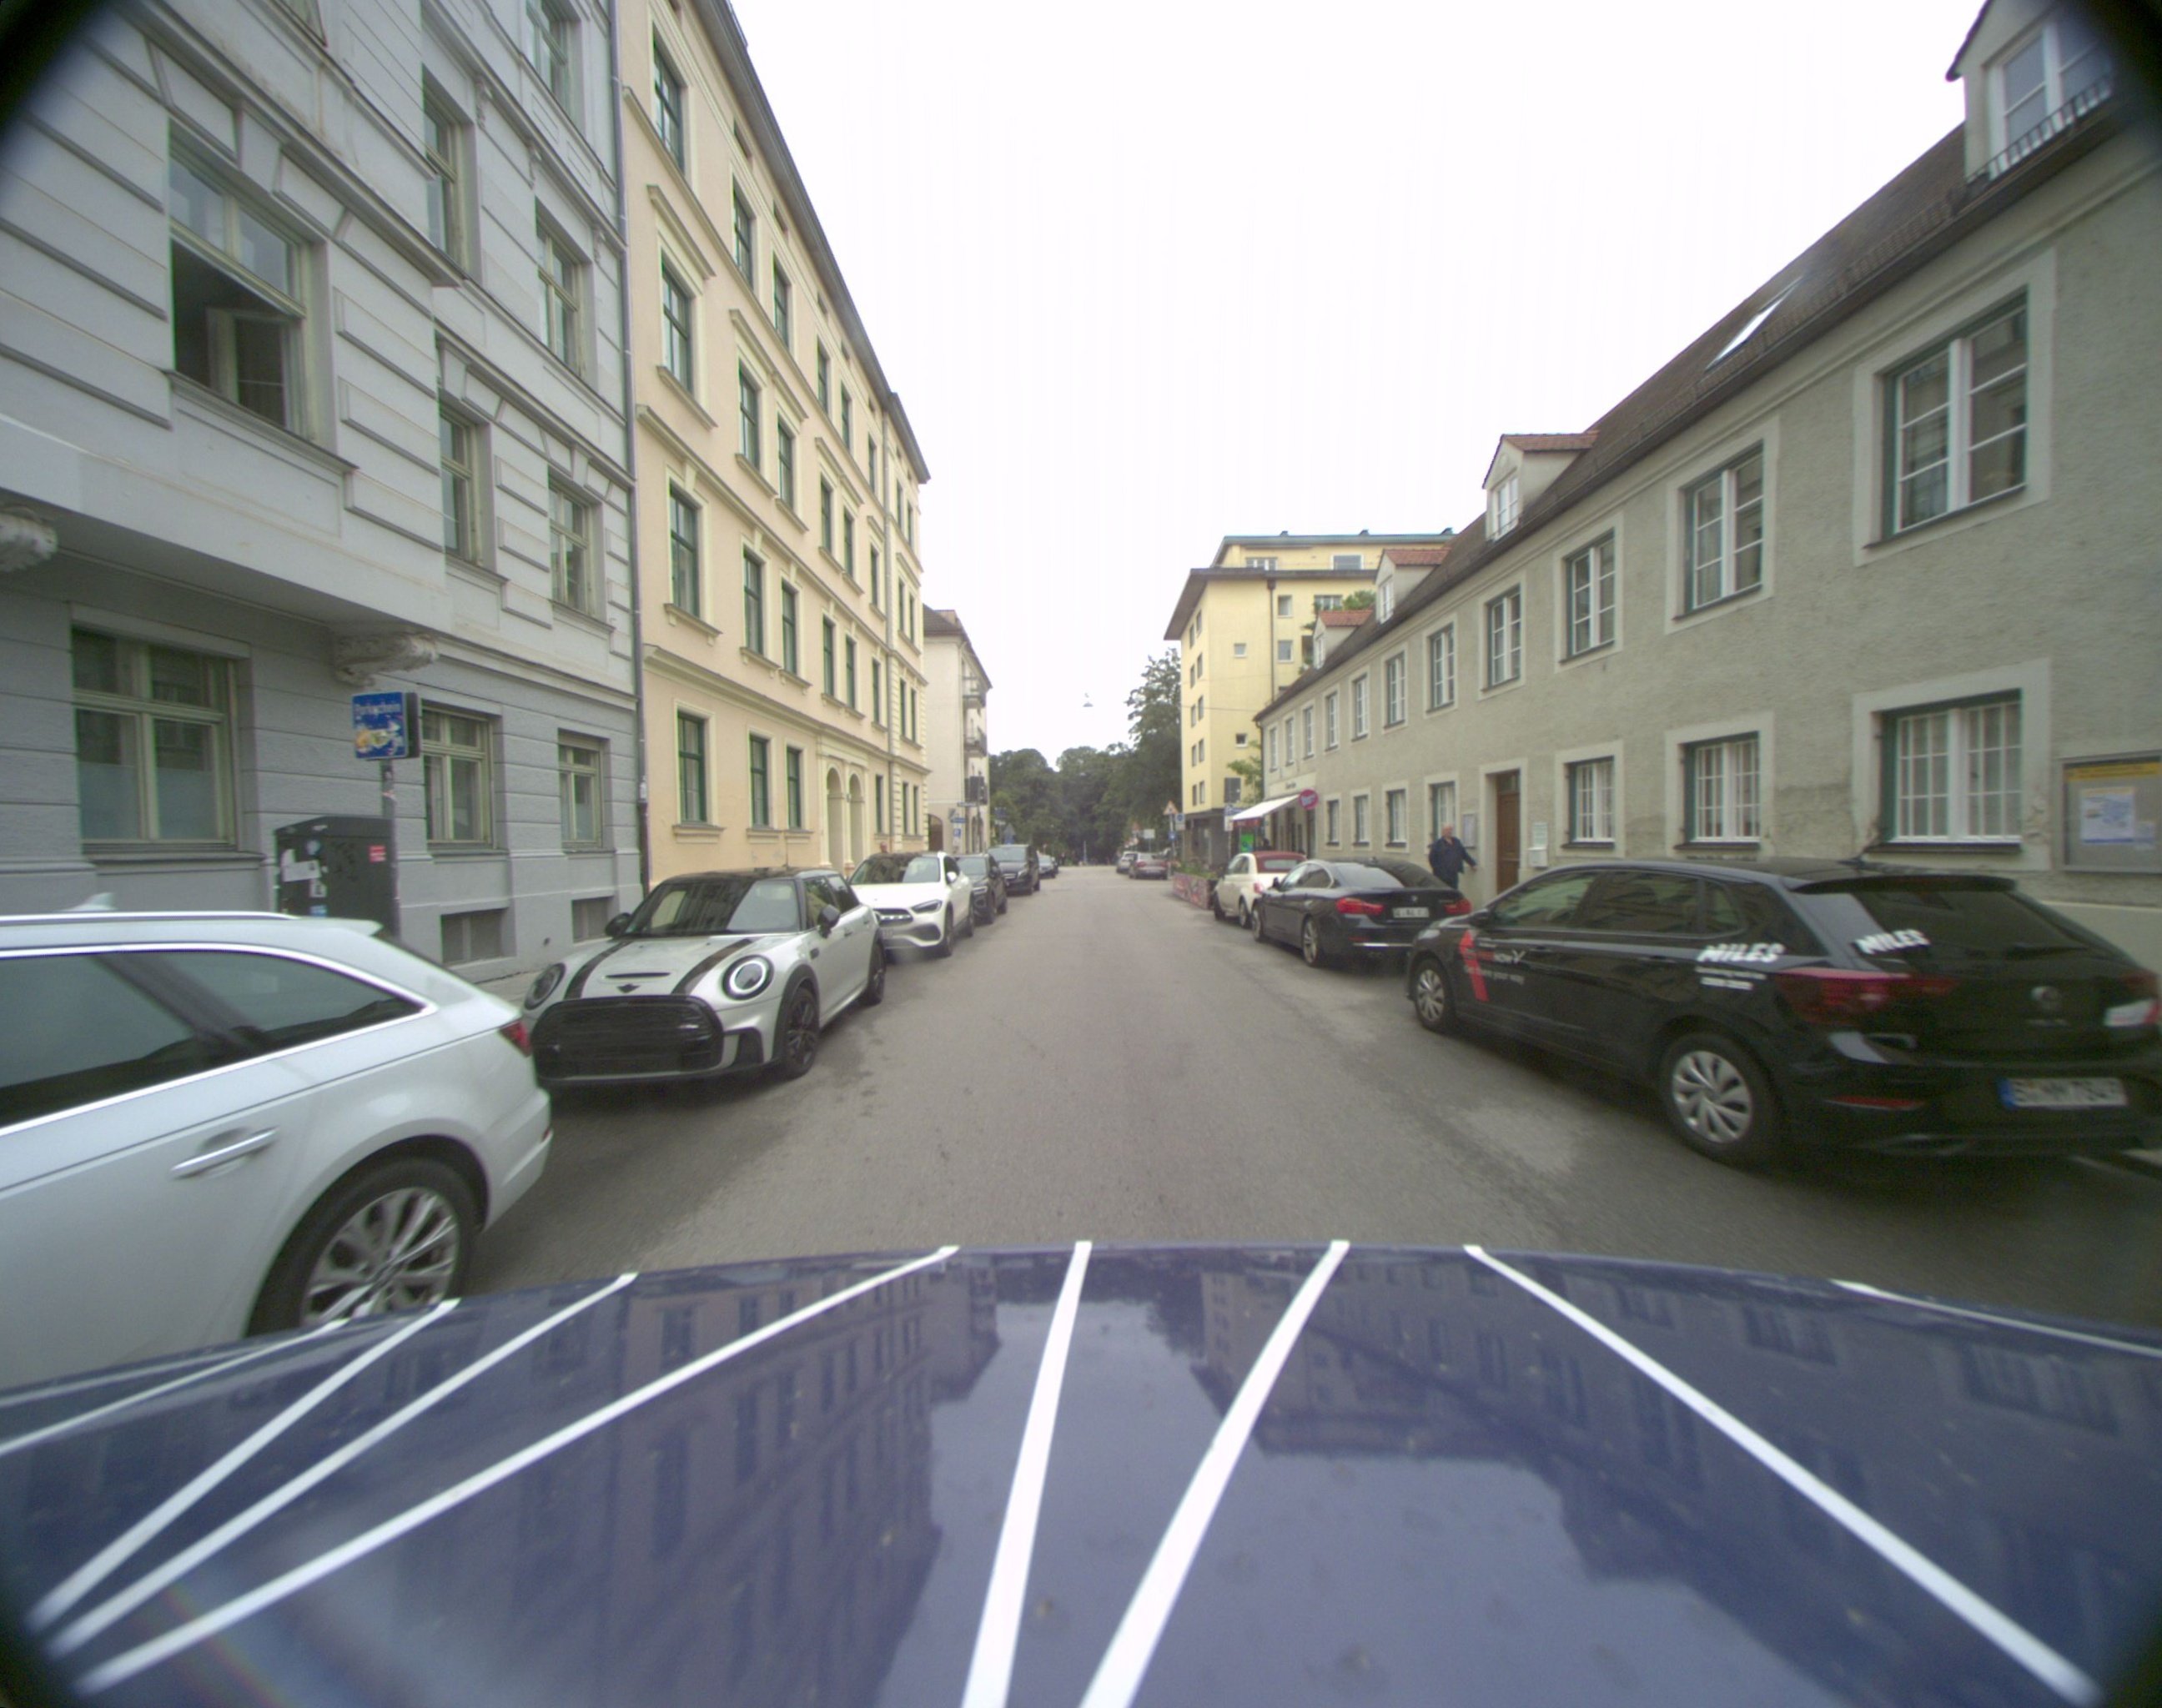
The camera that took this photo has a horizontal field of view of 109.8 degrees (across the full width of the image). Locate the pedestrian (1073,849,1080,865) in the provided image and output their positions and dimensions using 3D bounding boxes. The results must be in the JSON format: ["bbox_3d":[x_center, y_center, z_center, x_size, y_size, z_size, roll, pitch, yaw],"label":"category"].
[{"bbox_3d":[-0.468,0.332,80.678,0.639,1.662,0.774,-2,-2,1],"label":"pedestrian"}]

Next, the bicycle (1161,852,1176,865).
[{"bbox_3d":[7.907,0.394,68.377,0.582,1.120,2.301,-2,1,24],"label":"bicycle"}]

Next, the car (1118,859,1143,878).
[{"bbox_3d":[3.934,1.164,60.744,1.750,1.402,4.098,0,0,0],"label":"car"}]

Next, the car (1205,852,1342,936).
[{"bbox_3d":[3.884,0.739,15.983,1.759,1.466,3.712,-2,1,-3],"label":"car"}]

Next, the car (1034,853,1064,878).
[{"bbox_3d":[-1.964,0.689,46.930,1.680,1.416,4.203,-3,0,-2],"label":"car"}]

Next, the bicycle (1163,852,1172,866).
[{"bbox_3d":[7.519,0.416,66.119,0.563,1.203,1.854,-2,1,3],"label":"bicycle"}]

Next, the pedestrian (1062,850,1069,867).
[{"bbox_3d":[-1.628,0.485,80.542,0.686,1.662,0.774,-2,-2,1],"label":"pedestrian"}]

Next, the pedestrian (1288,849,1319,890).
[{"bbox_3d":[7.237,0.496,24.773,0.805,1.283,0.693,-1,2,1],"label":"pedestrian"}]

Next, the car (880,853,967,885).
[{"bbox_3d":[-8.071,0.783,39.118,4.099,1.595,1.755,-1,-1,-1],"label":"car"}]

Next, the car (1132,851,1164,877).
[{"bbox_3d":[4.030,0.567,46.422,1.683,1.463,4.097,0,0,1],"label":"car"}]

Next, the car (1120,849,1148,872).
[{"bbox_3d":[3.790,0.470,55.039,1.807,1.574,4.338,0,-1,0],"label":"car"}]

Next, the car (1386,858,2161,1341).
[{"bbox_3d":[3.658,0.830,4.649,1.759,1.488,4.199,-1,1,-2],"label":"car"}]

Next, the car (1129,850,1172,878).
[{"bbox_3d":[3.745,0.492,41.647,1.683,1.463,4.948,0,0,-2],"label":"car"}]

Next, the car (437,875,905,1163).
[{"bbox_3d":[-2.782,0.988,6.383,1.712,1.396,4.206,-1,1,-2],"label":"car"}]

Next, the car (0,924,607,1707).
[{"bbox_3d":[-2.862,1.041,0.723,1.712,1.400,4.814,-1,1,1],"label":"car"}]

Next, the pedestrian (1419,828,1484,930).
[{"bbox_3d":[7.113,0.456,14.622,0.824,1.887,0.827,-1,2,-1],"label":"pedestrian"}]

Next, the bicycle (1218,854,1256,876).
[{"bbox_3d":[7.977,0.543,38.897,1.822,1.029,0.392,-3,0,3],"label":"bicycle"}]

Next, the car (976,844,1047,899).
[{"bbox_3d":[-2.539,0.578,28.932,2.002,1.853,5.253,-2,1,2],"label":"car"}]

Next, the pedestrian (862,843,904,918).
[{"bbox_3d":[-4.718,0.615,18.160,0.721,1.708,1.003,-1,2,-1],"label":"pedestrian"}]

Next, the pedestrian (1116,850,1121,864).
[{"bbox_3d":[4.817,0.351,97.638,0.634,1.771,0.801,0,-1,1],"label":"pedestrian"}]

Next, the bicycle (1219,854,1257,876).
[{"bbox_3d":[7.956,0.557,38.493,1.822,1.029,0.392,-3,0,3],"label":"bicycle"}]

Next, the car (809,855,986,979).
[{"bbox_3d":[-2.766,0.866,12.538,1.747,1.574,4.466,-1,1,1],"label":"car"}]

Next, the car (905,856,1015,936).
[{"bbox_3d":[-2.646,0.851,17.569,1.759,1.512,4.274,-1,1,1],"label":"car"}]

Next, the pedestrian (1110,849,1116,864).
[{"bbox_3d":[4.126,0.339,97.649,0.707,1.892,0.804,0,-1,1],"label":"pedestrian"}]

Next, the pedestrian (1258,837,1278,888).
[{"bbox_3d":[6.597,0.297,26.827,0.530,1.772,0.877,-1,2,1],"label":"pedestrian"}]

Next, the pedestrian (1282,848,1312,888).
[{"bbox_3d":[7.242,0.462,25.496,0.805,1.283,0.693,-1,2,1],"label":"pedestrian"}]

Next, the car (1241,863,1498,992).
[{"bbox_3d":[3.698,0.841,10.768,1.803,1.331,4.685,-1,0,-1],"label":"car"}]
